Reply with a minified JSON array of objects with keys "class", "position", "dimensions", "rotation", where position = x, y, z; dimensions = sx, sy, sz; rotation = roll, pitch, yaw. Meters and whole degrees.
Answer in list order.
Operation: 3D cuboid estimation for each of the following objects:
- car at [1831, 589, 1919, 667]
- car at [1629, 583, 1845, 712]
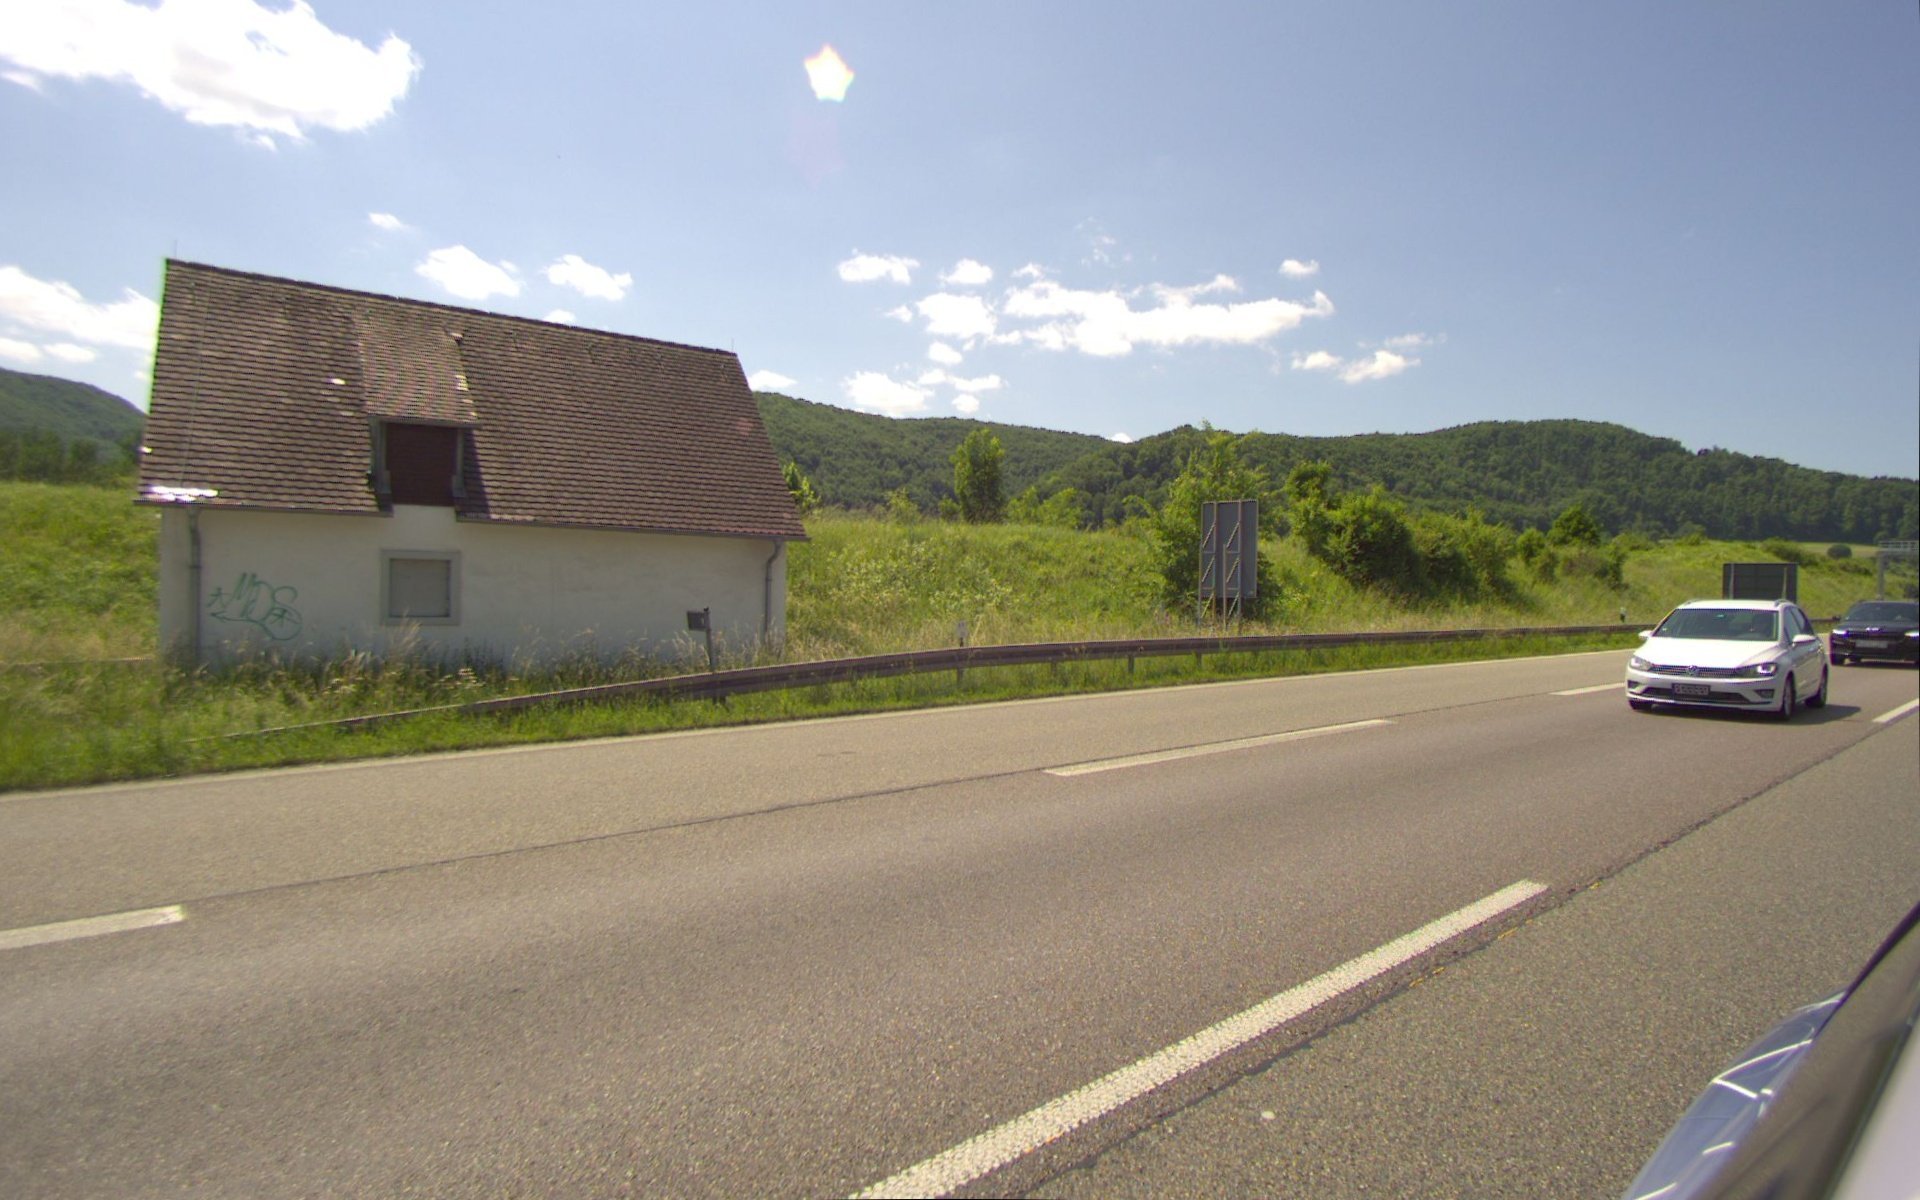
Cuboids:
[{"class":"car","position":[23.712,0.659,25.592],"dimensions":[4.096,1.794,1.893],"rotation":[1,1,-40]},{"class":"car","position":[11.027,0.566,14.265],"dimensions":[3.985,1.560,1.775],"rotation":[0,0,-43]}]
